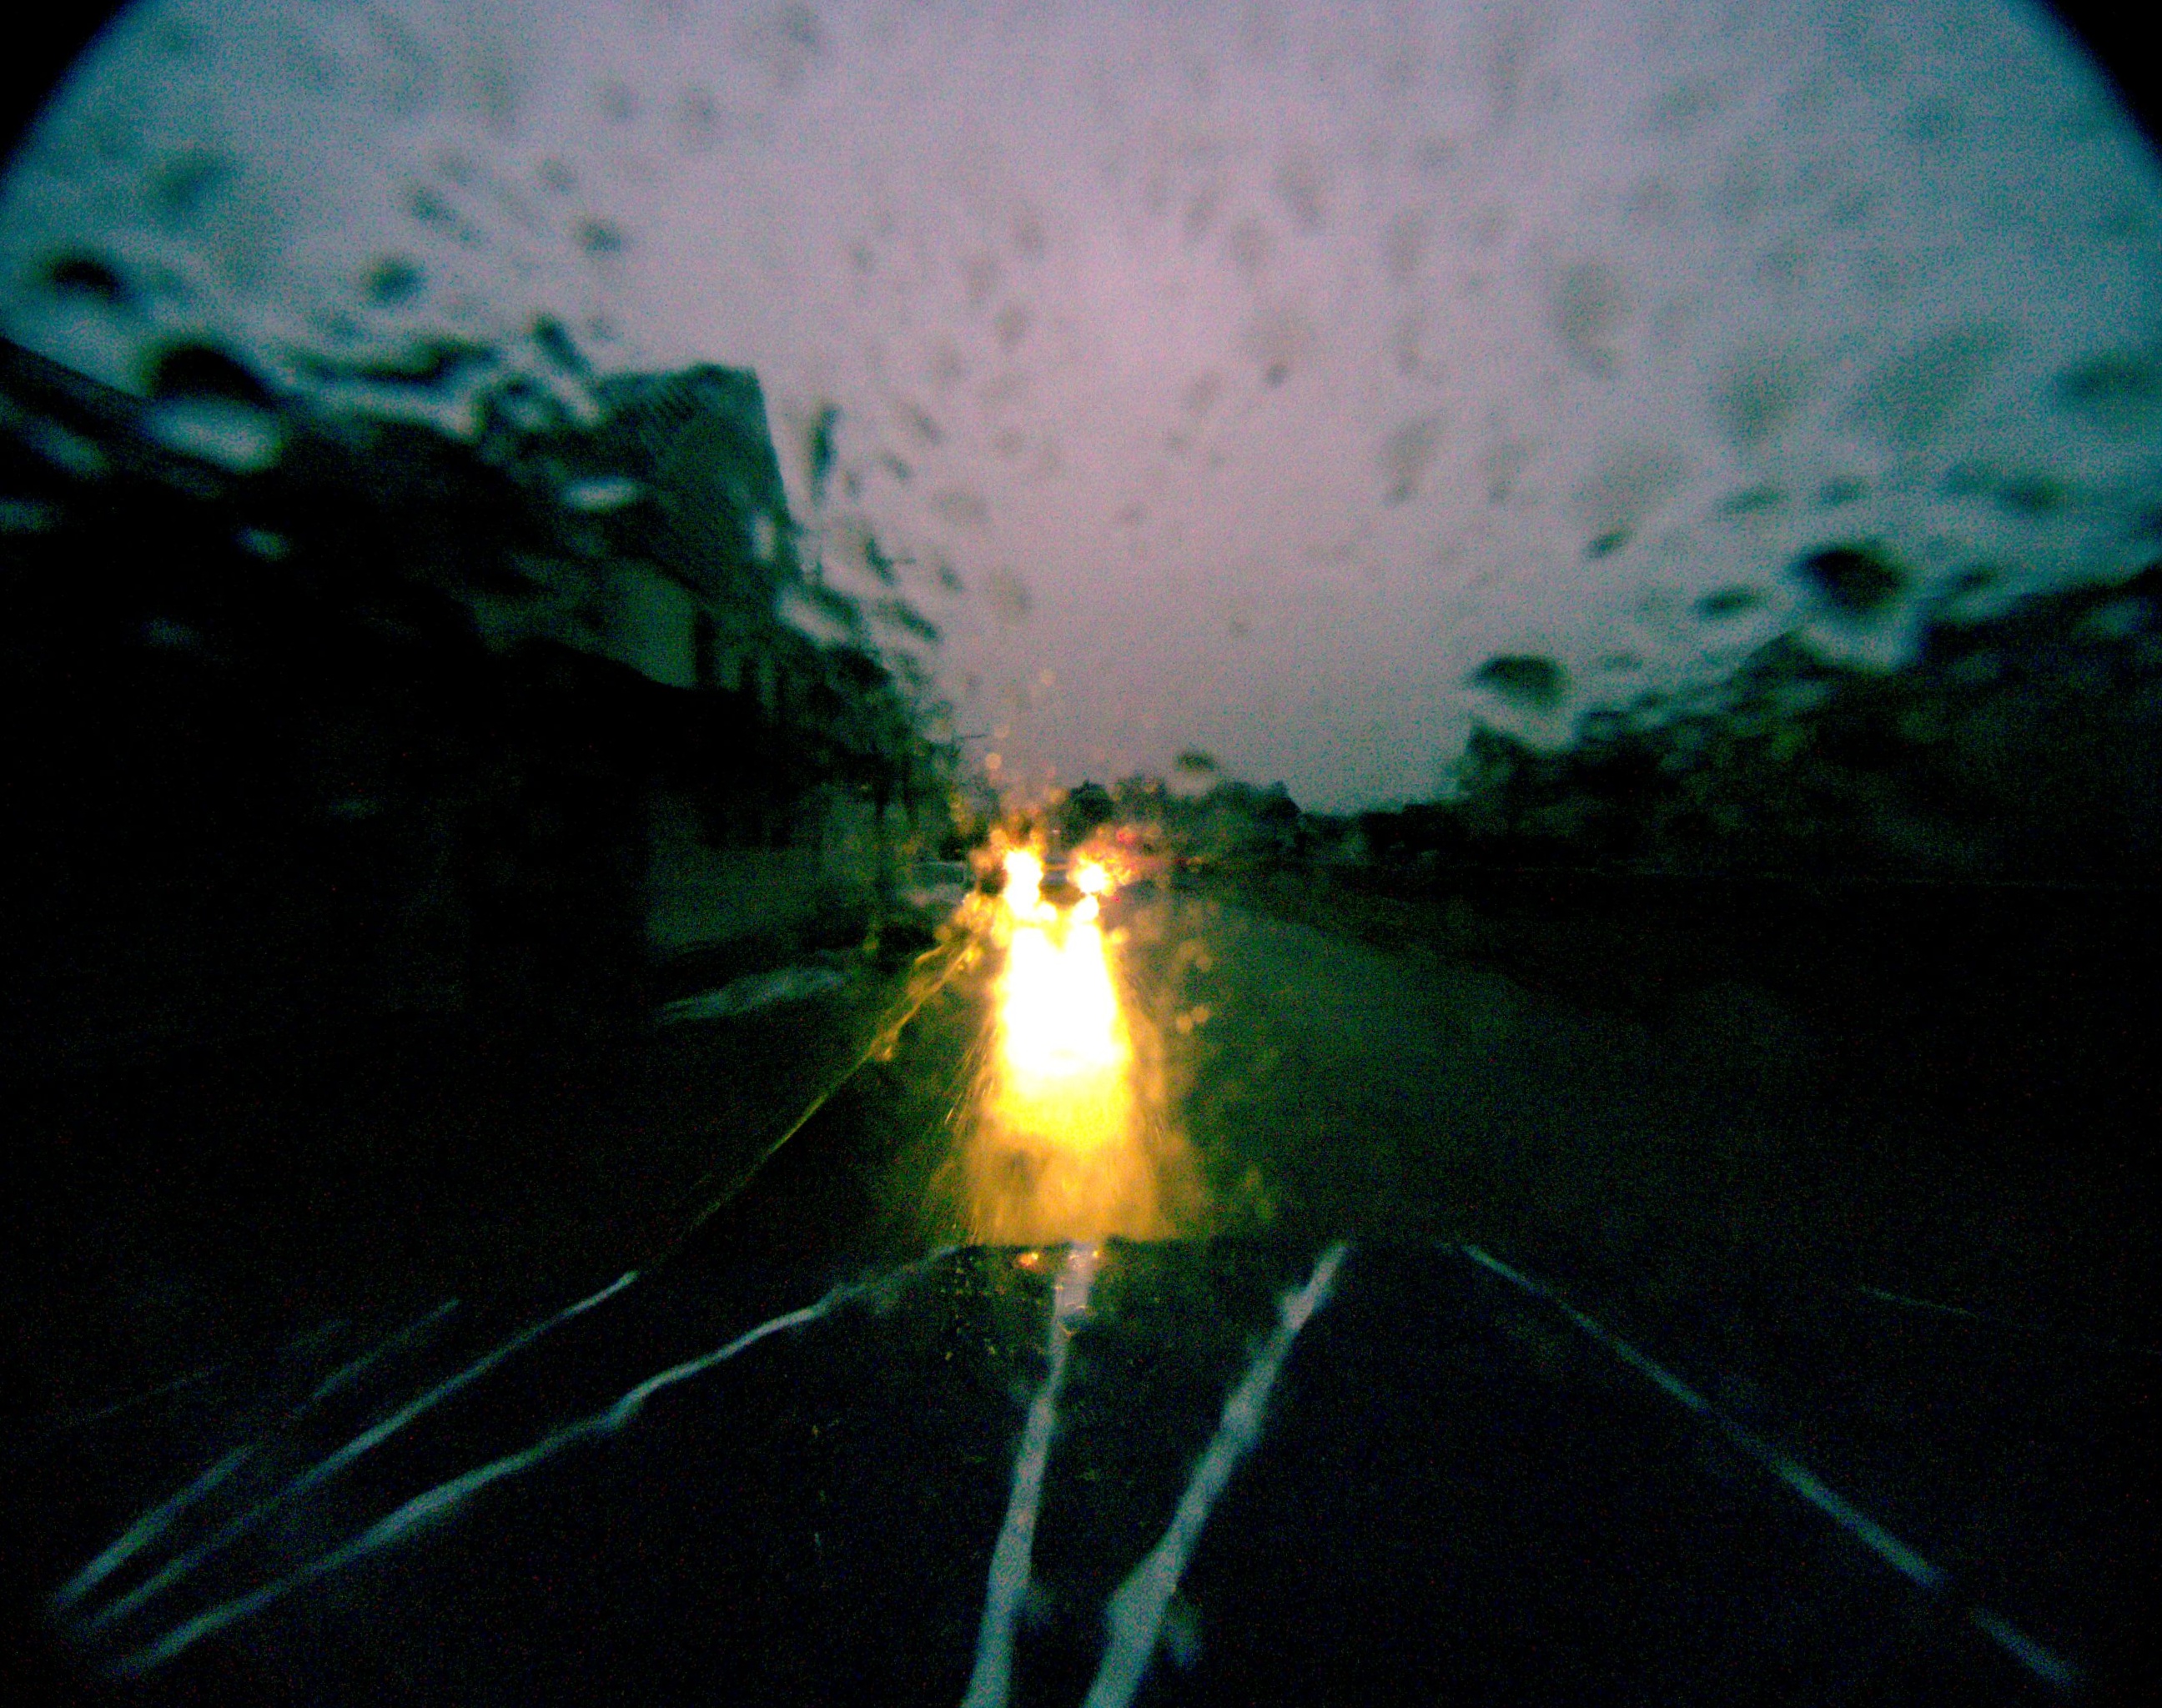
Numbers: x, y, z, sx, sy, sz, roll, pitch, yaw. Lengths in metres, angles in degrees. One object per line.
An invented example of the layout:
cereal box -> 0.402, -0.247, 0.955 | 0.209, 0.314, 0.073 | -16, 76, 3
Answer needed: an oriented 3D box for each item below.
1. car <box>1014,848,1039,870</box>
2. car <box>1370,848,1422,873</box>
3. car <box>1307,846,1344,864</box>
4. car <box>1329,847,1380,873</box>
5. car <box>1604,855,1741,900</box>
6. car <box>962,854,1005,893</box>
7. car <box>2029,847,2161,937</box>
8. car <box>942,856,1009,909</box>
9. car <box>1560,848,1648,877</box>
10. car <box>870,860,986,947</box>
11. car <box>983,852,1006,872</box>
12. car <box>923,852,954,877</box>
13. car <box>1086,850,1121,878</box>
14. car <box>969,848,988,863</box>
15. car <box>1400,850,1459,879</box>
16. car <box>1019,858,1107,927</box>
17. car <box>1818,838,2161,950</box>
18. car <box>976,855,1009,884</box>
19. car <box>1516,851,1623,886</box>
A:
car -> -4.589, 0.386, 64.488 | 1.906, 1.630, 4.564 | -3, 1, -3
car -> 21.602, 0.440, 52.243 | 1.901, 1.509, 3.999 | -3, 1, 0
car -> 20.986, 0.066, 65.333 | 1.681, 1.406, 3.831 | -3, 1, -5
car -> 21.519, 0.476, 59.922 | 1.999, 1.894, 4.355 | -3, 1, -6
car -> 21.788, 0.818, 28.218 | 1.881, 1.496, 4.143 | -1, 0, 1
car -> -4.166, 0.776, 33.076 | 1.669, 1.566, 4.494 | 0, 0, -5
car -> 21.916, 0.732, 14.821 | 1.863, 1.672, 4.000 | -3, 0, 1
car -> -3.523, 0.888, 26.244 | 1.962, 1.524, 5.006 | -3, 0, -5
car -> 31.788, 0.507, 46.301 | 4.032, 1.515, 1.815 | -2, 1, 17
car -> -2.966, 0.897, 15.574 | 1.657, 1.446, 4.236 | 2, 0, -3
car -> -6.928, 0.601, 60.989 | 1.813, 1.555, 4.302 | 0, 0, -6
car -> -9.627, 0.674, 51.238 | 1.814, 1.543, 4.299 | 0, 0, -14
car -> 1.281, 0.550, 44.265 | 1.737, 1.527, 3.780 | -3, 0, -2
car -> -12.923, 0.189, 95.818 | 1.918, 1.780, 4.561 | 0, 0, -13
car -> 21.710, 0.634, 47.456 | 1.821, 1.615, 3.985 | -3, 0, 0
car -> -0.579, 0.920, 19.631 | 1.999, 1.525, 3.999 | -2, -1, -5
car -> 16.545, 0.616, 14.139 | 1.804, 1.793, 3.859 | 0, 1, -3
car -> -4.816, 0.809, 41.239 | 1.708, 1.443, 4.189 | 0, 0, -7
car -> 21.524, 0.589, 33.734 | 1.881, 1.434, 4.648 | -1, 0, 2
